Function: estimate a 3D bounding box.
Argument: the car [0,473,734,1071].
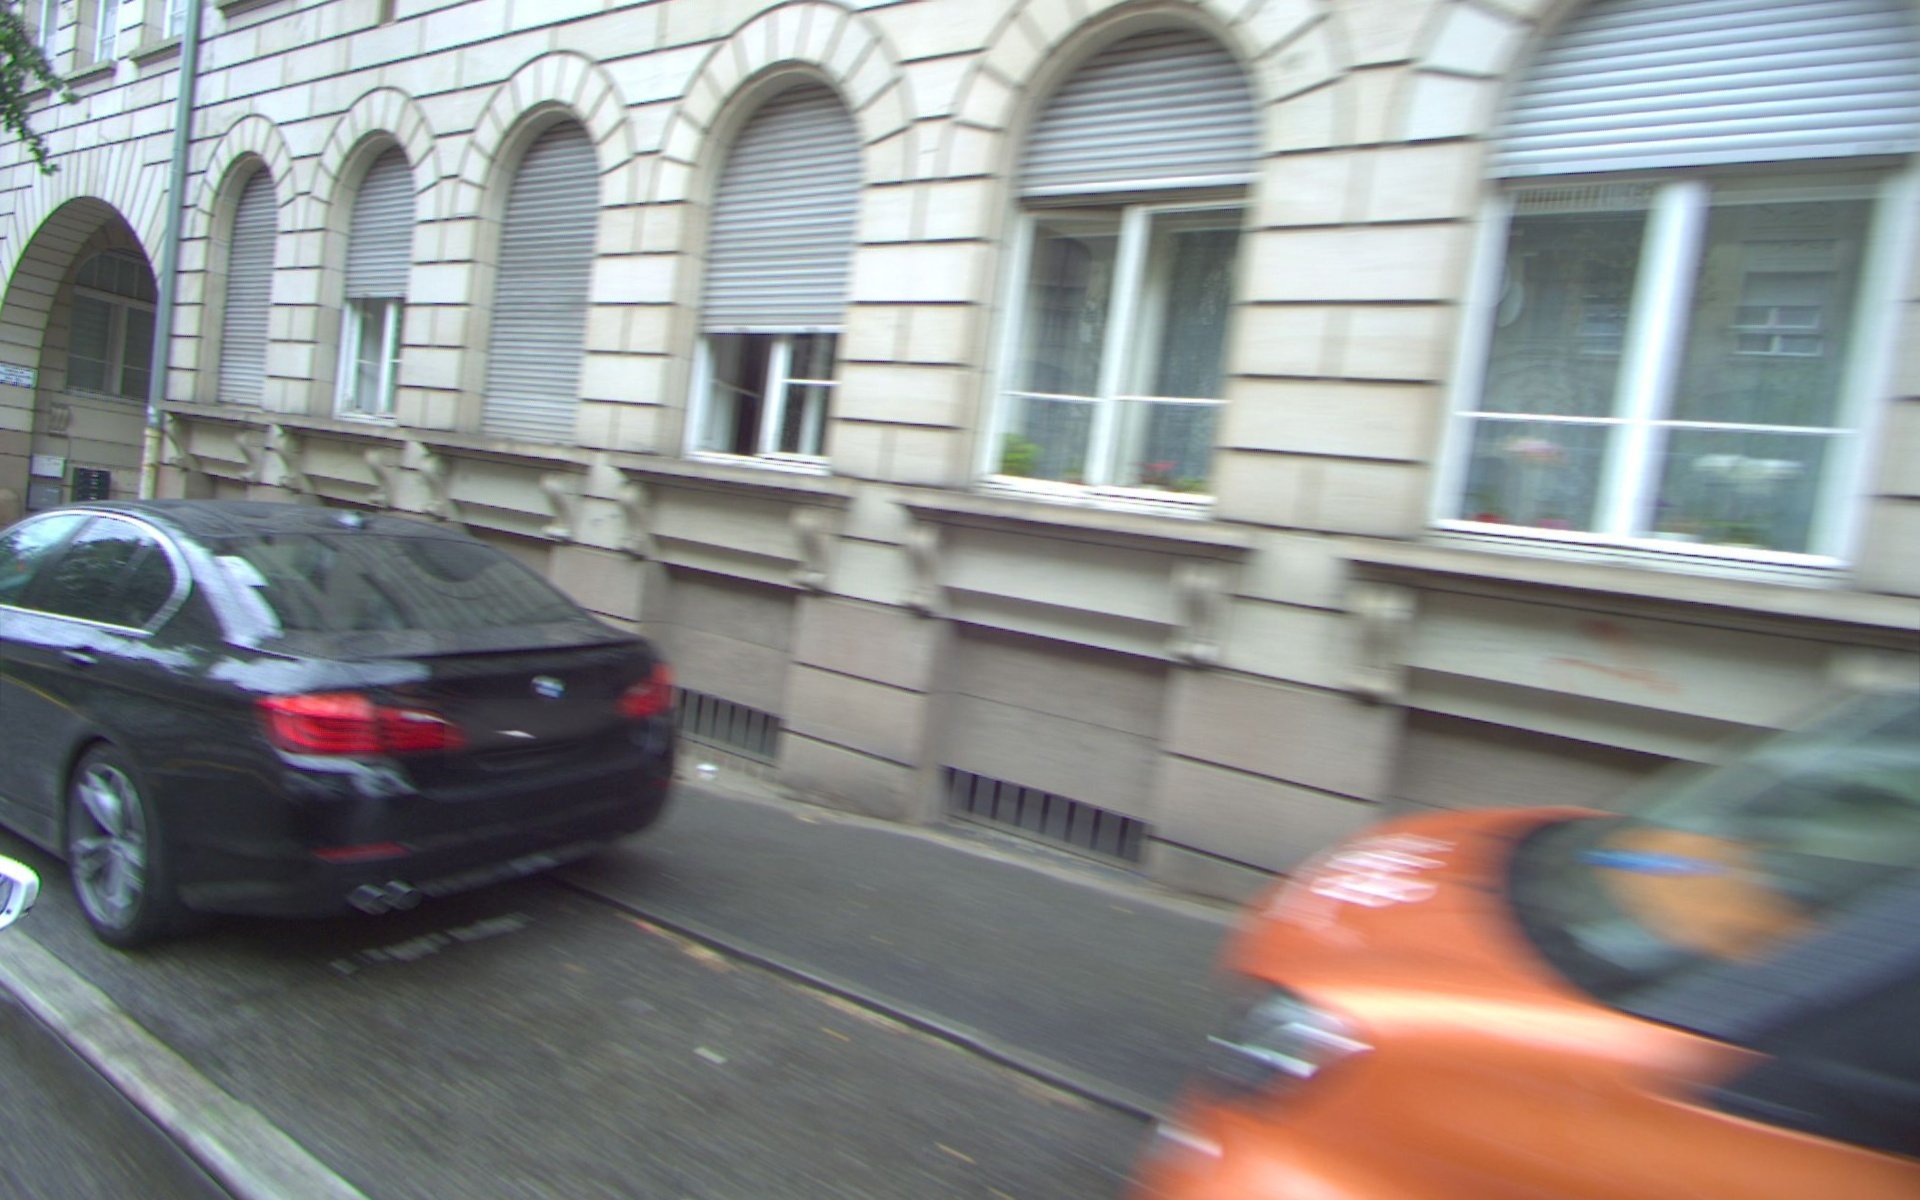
[{"bbox_3d":[-3.409,0.277,4.581,4.644,1.482,1.757,7,4,31],"label":"car"}]

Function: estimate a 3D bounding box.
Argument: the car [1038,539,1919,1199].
[{"bbox_3d":[1.888,0.848,1.439,3.129,1.541,1.638,7,4,30],"label":"car"}]
